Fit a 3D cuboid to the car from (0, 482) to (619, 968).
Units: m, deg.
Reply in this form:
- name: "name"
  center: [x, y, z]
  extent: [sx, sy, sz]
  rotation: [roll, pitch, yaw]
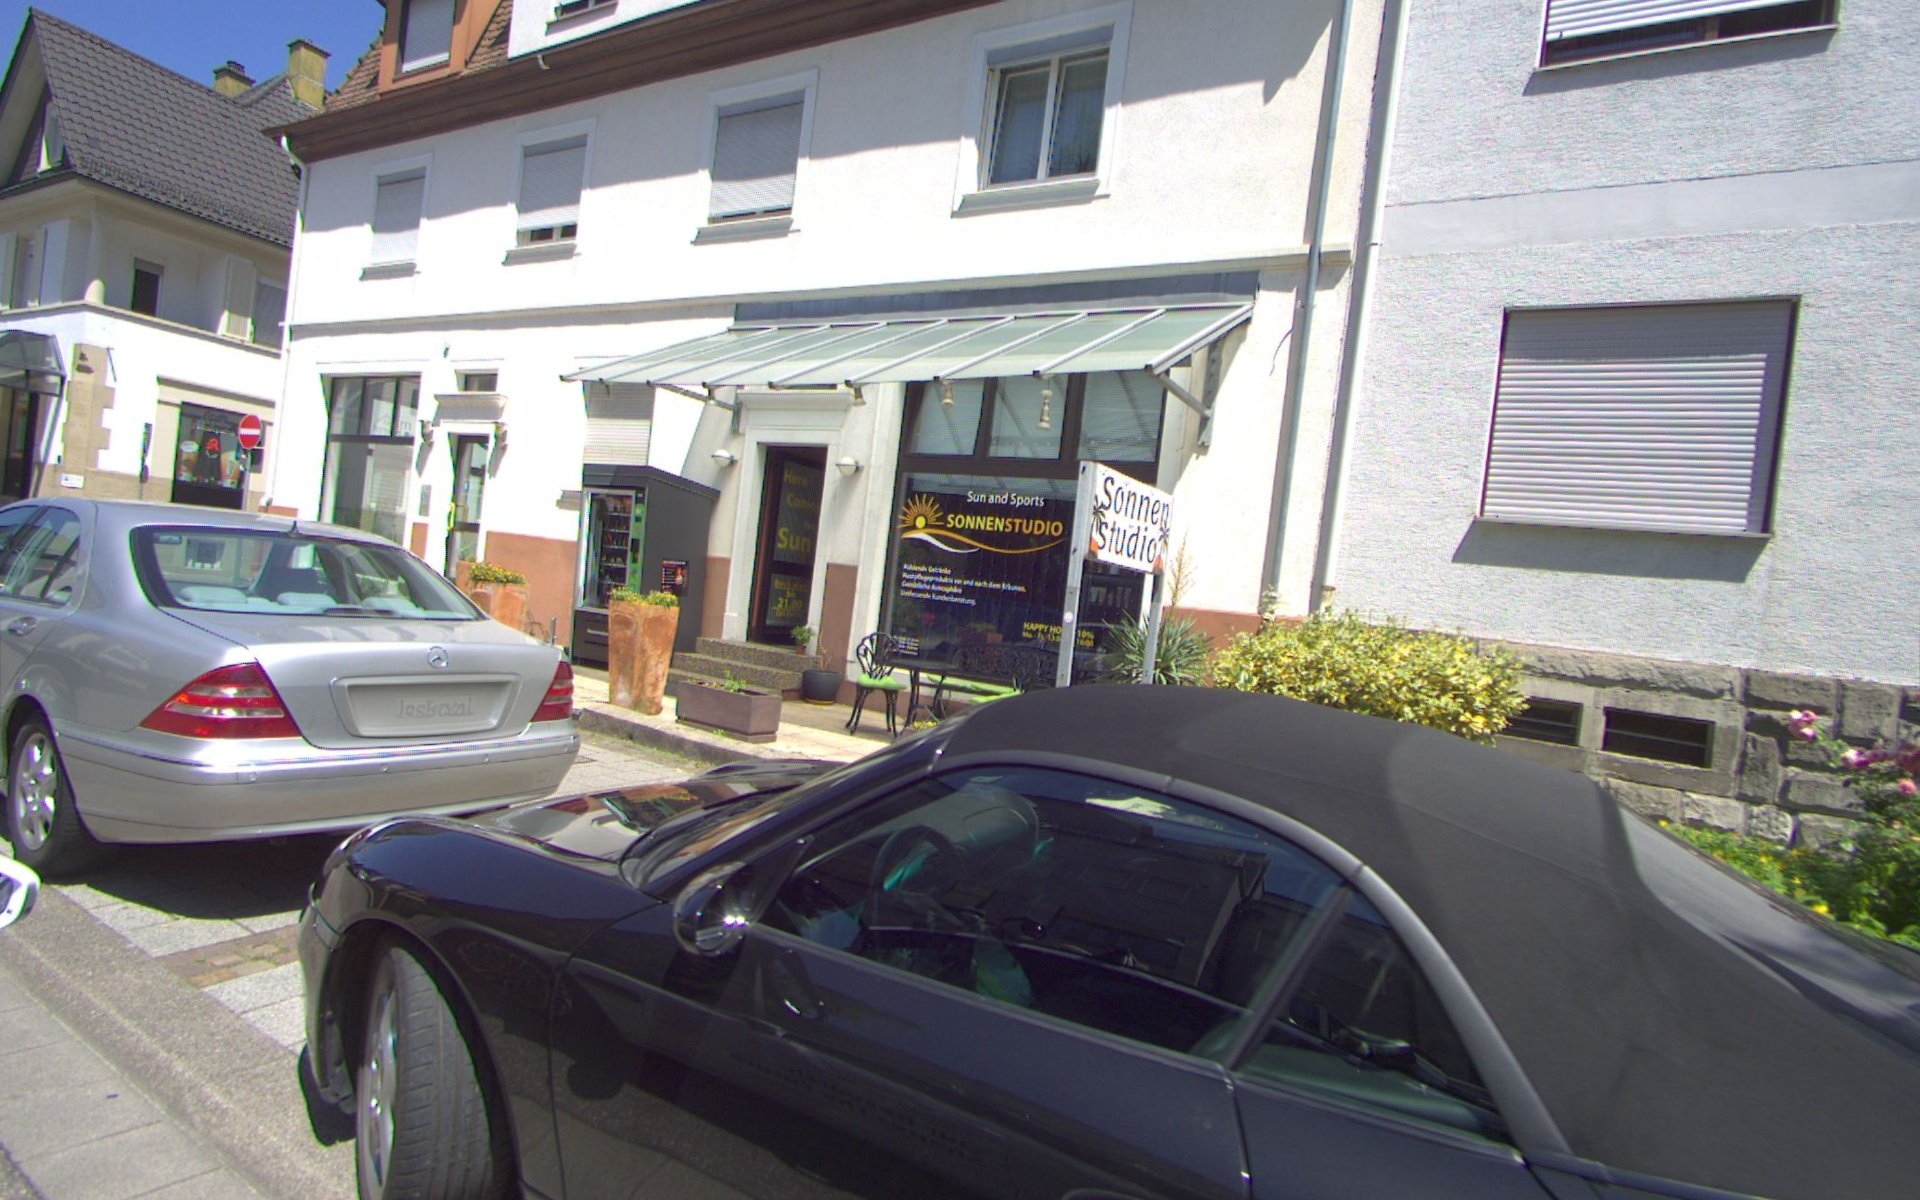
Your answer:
- name: "car"
  center: [-4.092, 0.223, 5.162]
  extent: [4.771, 1.488, 1.744]
  rotation: [7, 2, 32]

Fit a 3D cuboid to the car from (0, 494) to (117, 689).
- name: "car"
  center: [-9.204, -0.300, 8.454]
  extent: [4.622, 1.444, 1.829]
  rotation: [7, 0, 32]

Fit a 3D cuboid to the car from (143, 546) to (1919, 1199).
- name: "car"
  center: [0.049, 0.770, 2.228]
  extent: [4.104, 1.358, 1.559]
  rotation: [7, 1, 31]
